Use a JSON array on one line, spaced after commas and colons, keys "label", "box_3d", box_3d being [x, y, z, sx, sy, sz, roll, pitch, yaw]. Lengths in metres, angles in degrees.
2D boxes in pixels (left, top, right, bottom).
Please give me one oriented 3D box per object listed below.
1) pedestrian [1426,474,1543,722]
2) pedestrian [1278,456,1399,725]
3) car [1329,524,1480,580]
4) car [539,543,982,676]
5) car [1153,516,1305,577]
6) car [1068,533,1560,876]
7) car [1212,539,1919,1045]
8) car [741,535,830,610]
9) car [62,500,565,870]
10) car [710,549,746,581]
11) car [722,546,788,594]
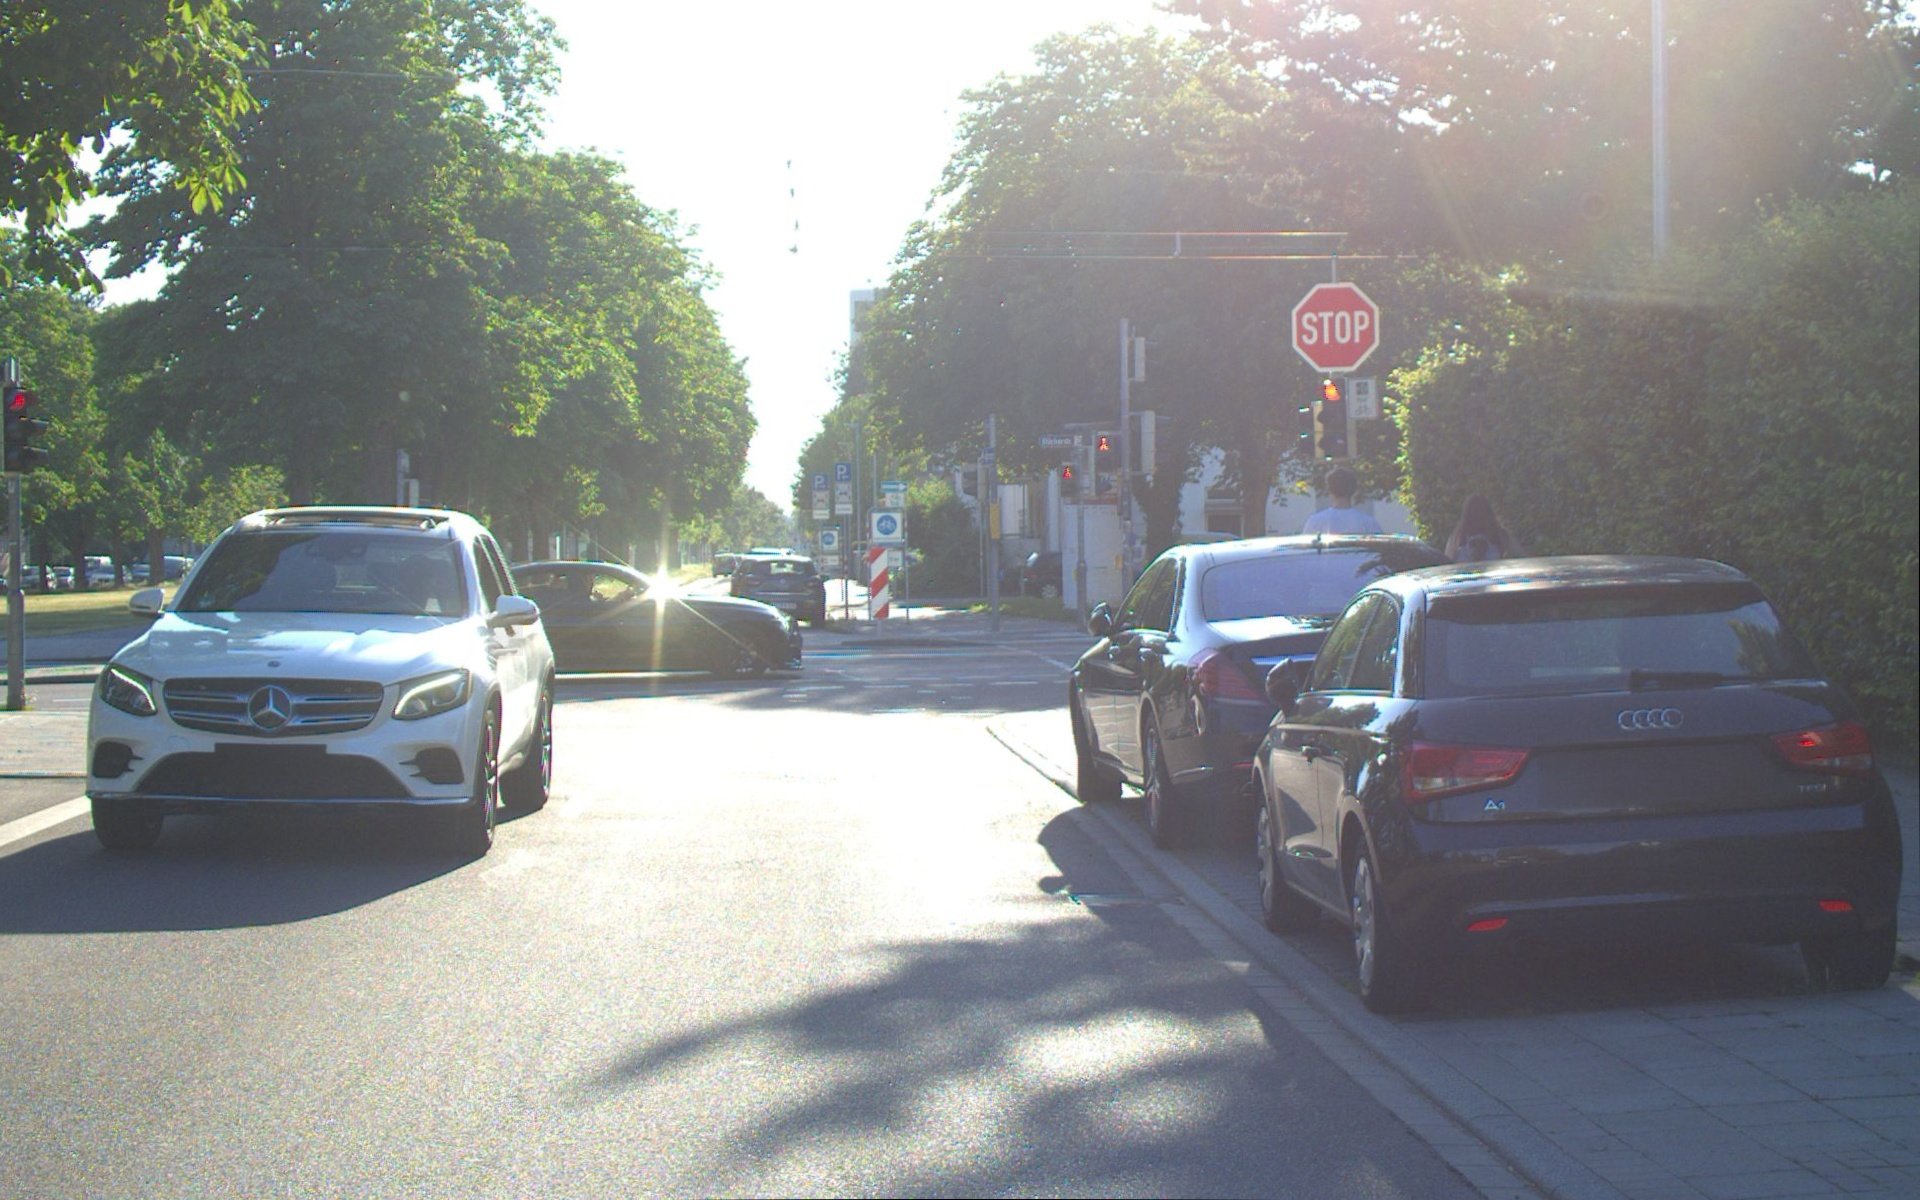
[{"label": "pedestrian", "box_3d": [3.660, -0.021, 24.028, 0.669, 1.702, 0.623, 0, 1, -5]}, {"label": "pedestrian", "box_3d": [2.658, -0.070, 24.197, 0.670, 1.859, 0.882, 0, 1, -6]}, {"label": "car", "box_3d": [11.678, -1.255, 90.341, 3.662, 1.422, 1.532, -1, 1, -7]}, {"label": "car", "box_3d": [-2.284, 0.077, 39.028, 4.763, 1.429, 1.815, -1, 1, -13]}, {"label": "car", "box_3d": [7.054, -1.406, 90.357, 3.779, 1.520, 1.744, 0, 2, -2]}, {"label": "car", "box_3d": [1.689, 0.431, 18.060, 1.859, 1.537, 4.874, -1, 1, -3]}, {"label": "car", "box_3d": [1.984, 0.534, 12.181, 1.641, 1.423, 3.937, -2, 1, -3]}, {"label": "car", "box_3d": [-3.472, -0.564, 68.806, 1.641, 1.446, 3.307, 0, 1, 0]}, {"label": "car", "box_3d": [-3.195, 0.350, 17.861, 1.891, 1.671, 4.425, 0, 1, -2]}, {"label": "car", "box_3d": [-15.009, -2.280, 222.642, 2.134, 2.007, 3.902, 0, 1, -2]}, {"label": "car", "box_3d": [-6.106, -0.903, 102.727, 1.845, 1.389, 3.829, 0, 1, -2]}]
